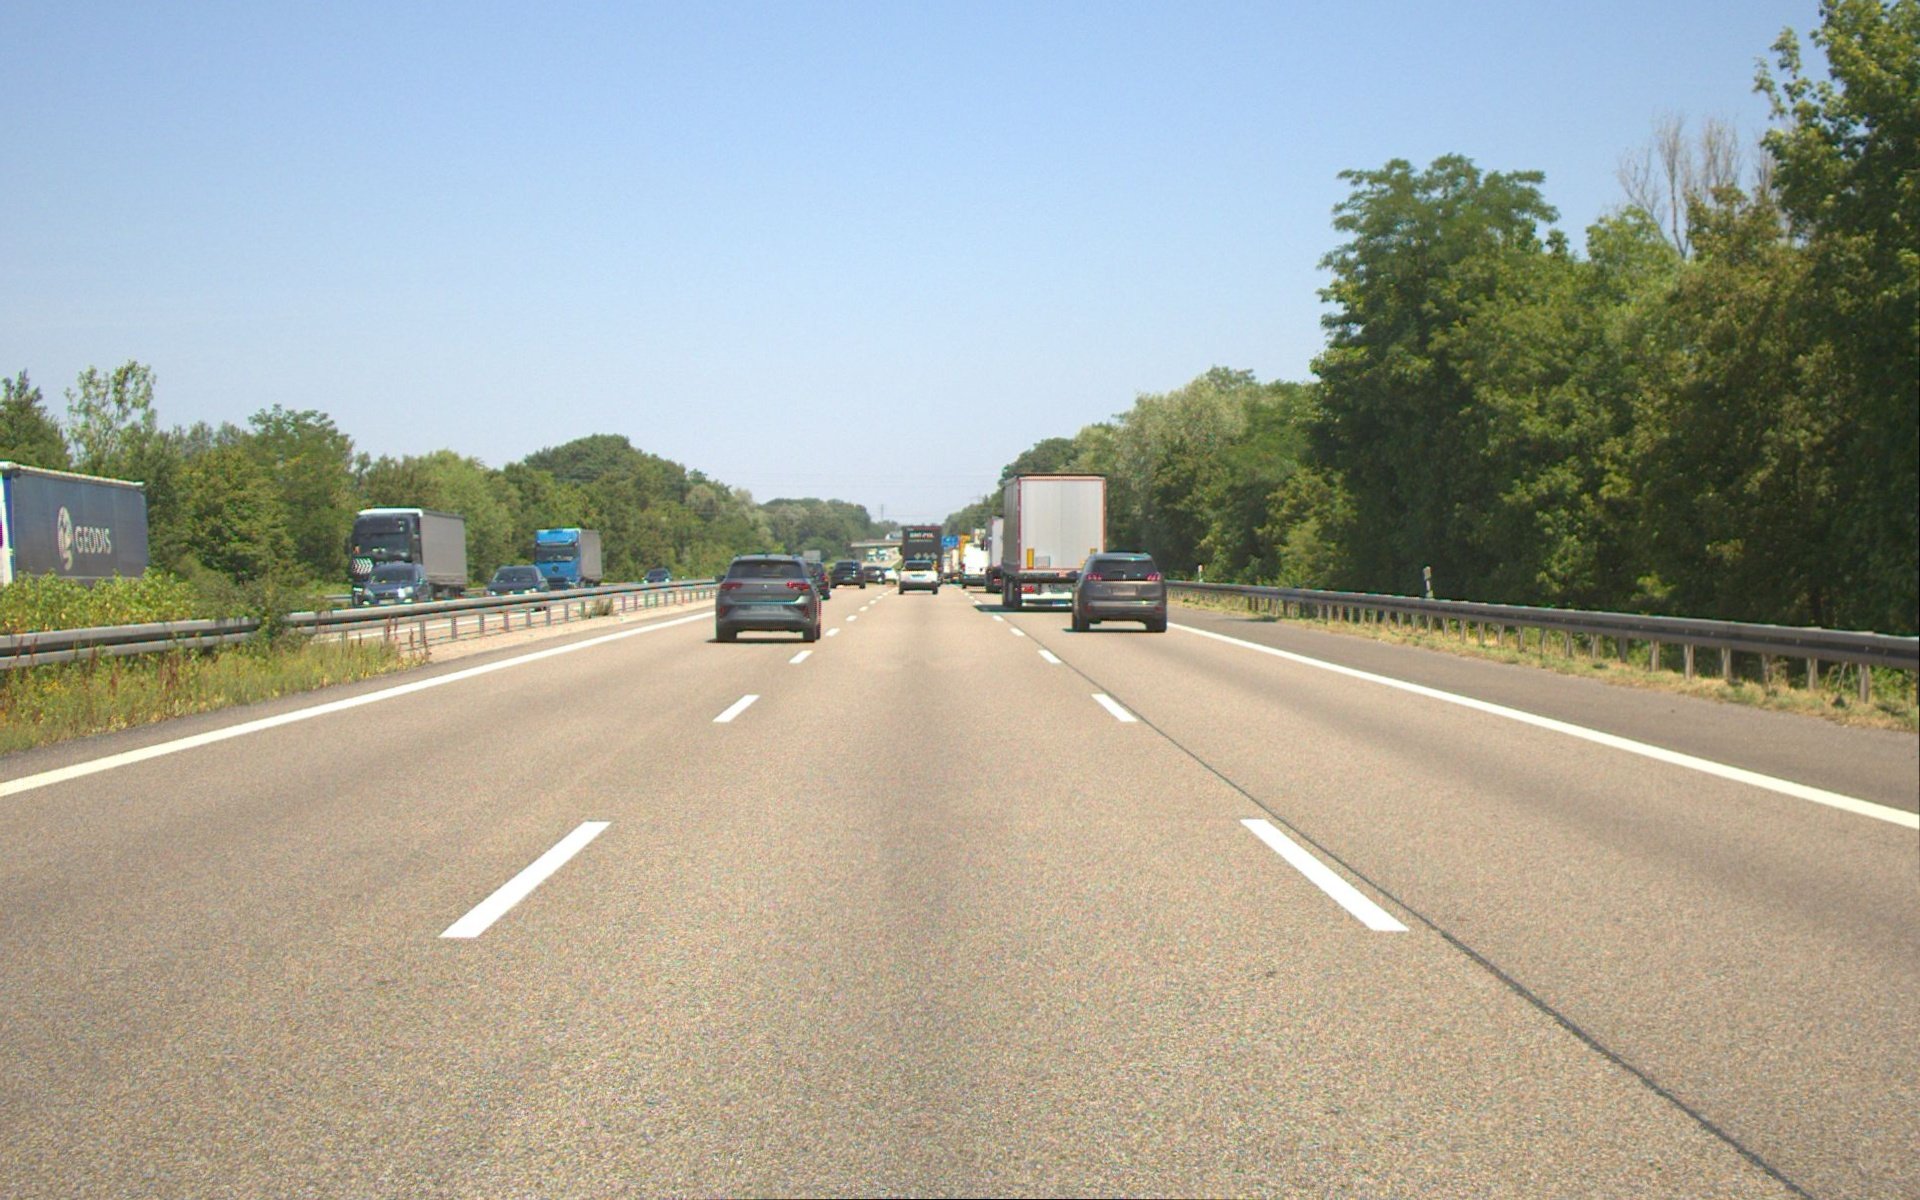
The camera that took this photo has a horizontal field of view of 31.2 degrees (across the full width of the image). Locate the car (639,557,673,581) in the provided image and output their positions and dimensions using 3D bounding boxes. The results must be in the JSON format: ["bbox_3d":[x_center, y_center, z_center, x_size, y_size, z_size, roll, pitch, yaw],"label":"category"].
[{"bbox_3d":[-19.854,-2.002,224.424,1.850,1.458,4.314,3,0,-1],"label":"car"}]

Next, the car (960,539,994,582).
[{"bbox_3d":[0.974,-2.349,202.906,1.907,2.417,4.286,1,1,0],"label":"car"}]

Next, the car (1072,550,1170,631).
[{"bbox_3d":[3.323,-0.221,71.654,1.845,1.623,4.135,0,1,0],"label":"car"}]

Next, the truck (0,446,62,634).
[{"bbox_3d":[-22.431,-1.261,76.923,2.916,4.115,6.194,-3,0,-1],"label":"truck"}]

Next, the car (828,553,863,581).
[{"bbox_3d":[-6.707,-1.928,201.284,1.907,1.525,4.286,1,1,0],"label":"car"}]

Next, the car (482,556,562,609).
[{"bbox_3d":[-13.720,-0.567,107.860,1.751,1.479,4.727,-5,1,0],"label":"car"}]

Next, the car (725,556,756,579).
[{"bbox_3d":[-15.289,-2.251,239.801,1.850,1.458,5.170,-3,1,-1],"label":"car"}]

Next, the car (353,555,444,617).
[{"bbox_3d":[-18.637,-0.500,114.348,2.228,1.982,5.357,1,1,-1],"label":"car"}]

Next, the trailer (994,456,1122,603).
[{"bbox_3d":[2.883,-2.075,105.410,3.434,4.167,13.633,1,0,0],"label":"trailer"}]

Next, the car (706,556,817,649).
[{"bbox_3d":[-3.551,0.017,61.956,1.759,1.525,4.286,1,1,0],"label":"car"}]

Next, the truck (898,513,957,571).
[{"bbox_3d":[-2.091,-3.863,226.723,3.667,3.713,7.108,1,1,1],"label":"truck"}]

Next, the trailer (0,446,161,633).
[{"bbox_3d":[-22.538,-1.361,83.838,2.919,4.172,13.542,-2,1,-1],"label":"trailer"}]

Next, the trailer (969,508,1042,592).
[{"bbox_3d":[2.138,-2.441,166.035,3.122,3.913,9.937,1,1,-1],"label":"trailer"}]

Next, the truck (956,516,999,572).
[{"bbox_3d":[1.215,-3.783,231.493,2.792,3.713,7.108,1,1,1],"label":"truck"}]

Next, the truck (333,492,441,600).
[{"bbox_3d":[-22.923,-2.196,137.878,3.197,4.115,6.194,-2,1,-1],"label":"truck"}]

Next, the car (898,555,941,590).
[{"bbox_3d":[-1.854,-1.270,157.062,1.900,1.525,4.084,1,1,0],"label":"car"}]

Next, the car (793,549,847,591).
[{"bbox_3d":[-5.341,-1.166,131.625,1.900,1.525,4.084,1,1,0],"label":"car"}]
